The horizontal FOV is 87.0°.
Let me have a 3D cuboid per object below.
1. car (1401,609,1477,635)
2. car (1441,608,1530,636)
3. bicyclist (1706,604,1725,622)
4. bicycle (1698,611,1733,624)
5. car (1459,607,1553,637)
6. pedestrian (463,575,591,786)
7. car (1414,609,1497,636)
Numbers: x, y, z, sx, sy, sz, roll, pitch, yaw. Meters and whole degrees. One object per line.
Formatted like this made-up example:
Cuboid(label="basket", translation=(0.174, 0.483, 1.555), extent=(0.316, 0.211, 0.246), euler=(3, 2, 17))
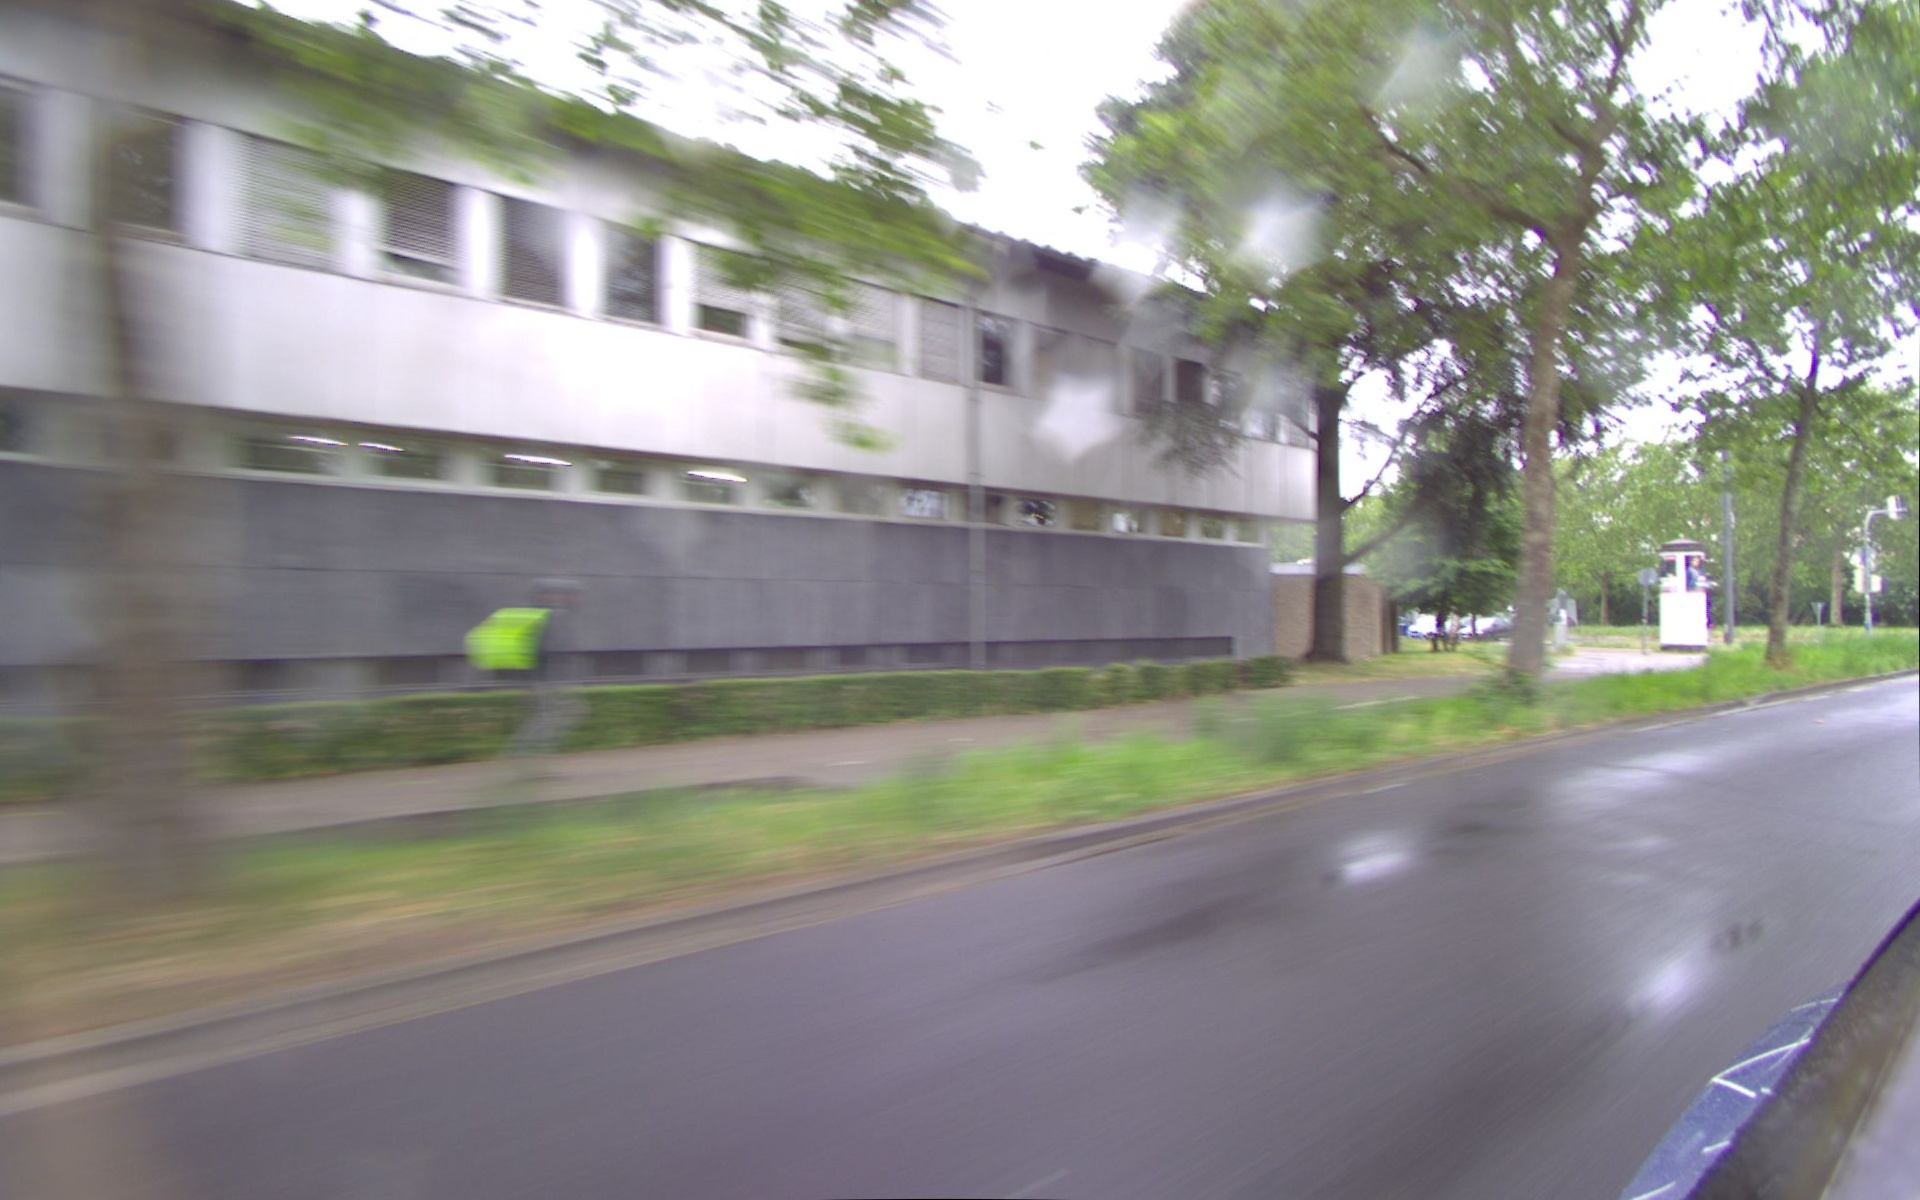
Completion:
Cuboid(label="car", translation=(32.403, 1.475, 68.600), extent=(4.464, 1.650, 1.987), euler=(-1, -1, 20))
Cuboid(label="car", translation=(31.566, 1.321, 60.945), extent=(4.464, 1.650, 1.987), euler=(-1, -1, 20))
Cuboid(label="bicyclist", translation=(50.824, 0.863, 68.076), extent=(0.668, 1.159, 0.745), euler=(-1, -1, -11))
Cuboid(label="bicycle", translation=(50.832, 1.182, 68.109), extent=(0.668, 0.896, 1.868), euler=(-1, -1, -11))
Cuboid(label="car", translation=(31.513, 1.246, 58.584), extent=(4.464, 1.650, 1.987), euler=(-1, -1, 20))
Cuboid(label="pedestrian", translation=(-3.778, 0.656, 8.823), extent=(0.882, 1.717, 0.833), euler=(0, -1, -34))
Cuboid(label="car", translation=(31.325, 1.437, 64.154), extent=(4.464, 1.650, 1.987), euler=(-1, -1, 20))
